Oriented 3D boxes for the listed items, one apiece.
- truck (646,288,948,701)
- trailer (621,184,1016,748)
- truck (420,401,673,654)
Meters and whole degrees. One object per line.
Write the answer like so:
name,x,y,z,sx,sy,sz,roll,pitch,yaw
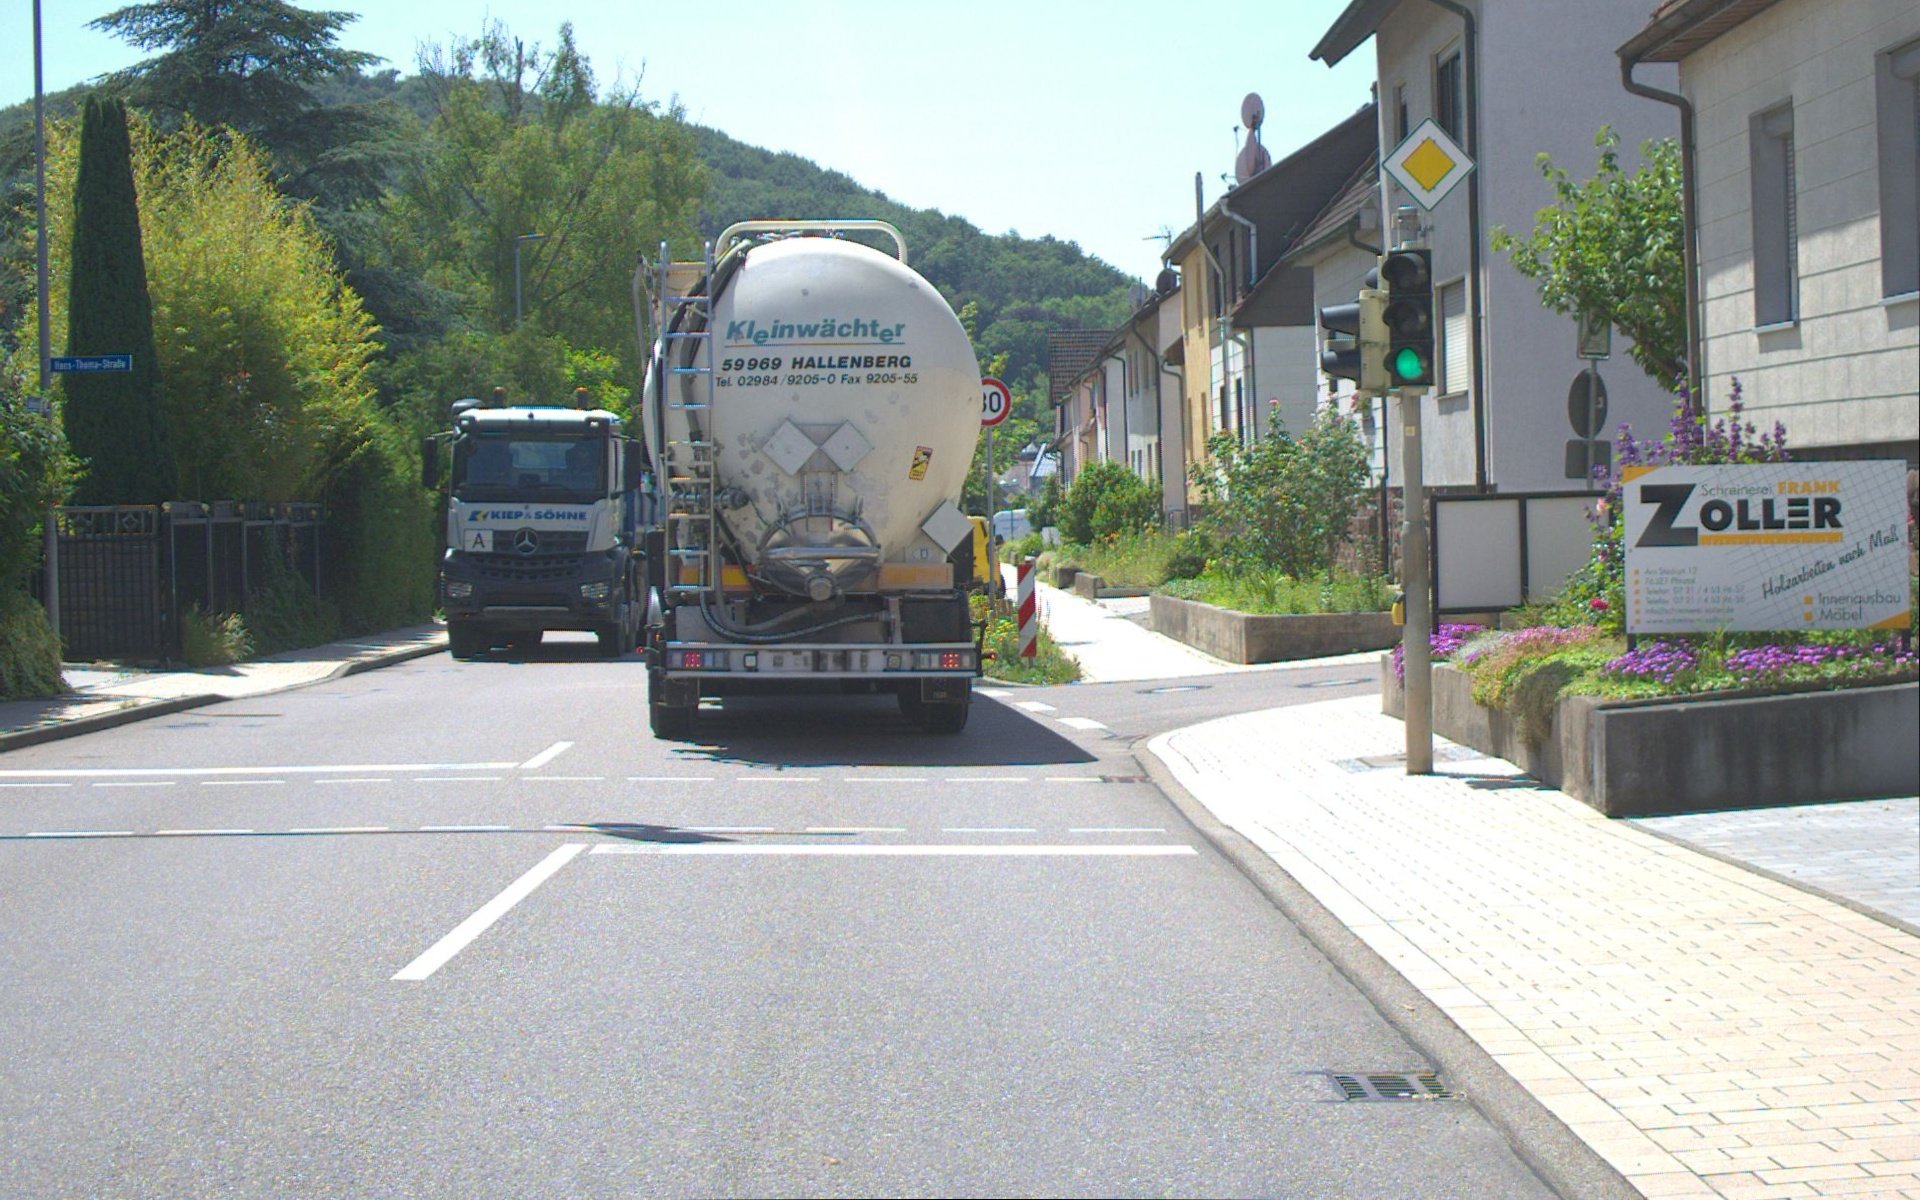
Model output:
truck,-1.833,-1.048,35.938,2.808,3.923,6.100,1,1,-6
trailer,-1.352,-1.022,29.563,2.796,3.987,10.325,0,1,-4
truck,-5.902,-1.039,50.395,2.728,3.360,8.635,1,1,-1
